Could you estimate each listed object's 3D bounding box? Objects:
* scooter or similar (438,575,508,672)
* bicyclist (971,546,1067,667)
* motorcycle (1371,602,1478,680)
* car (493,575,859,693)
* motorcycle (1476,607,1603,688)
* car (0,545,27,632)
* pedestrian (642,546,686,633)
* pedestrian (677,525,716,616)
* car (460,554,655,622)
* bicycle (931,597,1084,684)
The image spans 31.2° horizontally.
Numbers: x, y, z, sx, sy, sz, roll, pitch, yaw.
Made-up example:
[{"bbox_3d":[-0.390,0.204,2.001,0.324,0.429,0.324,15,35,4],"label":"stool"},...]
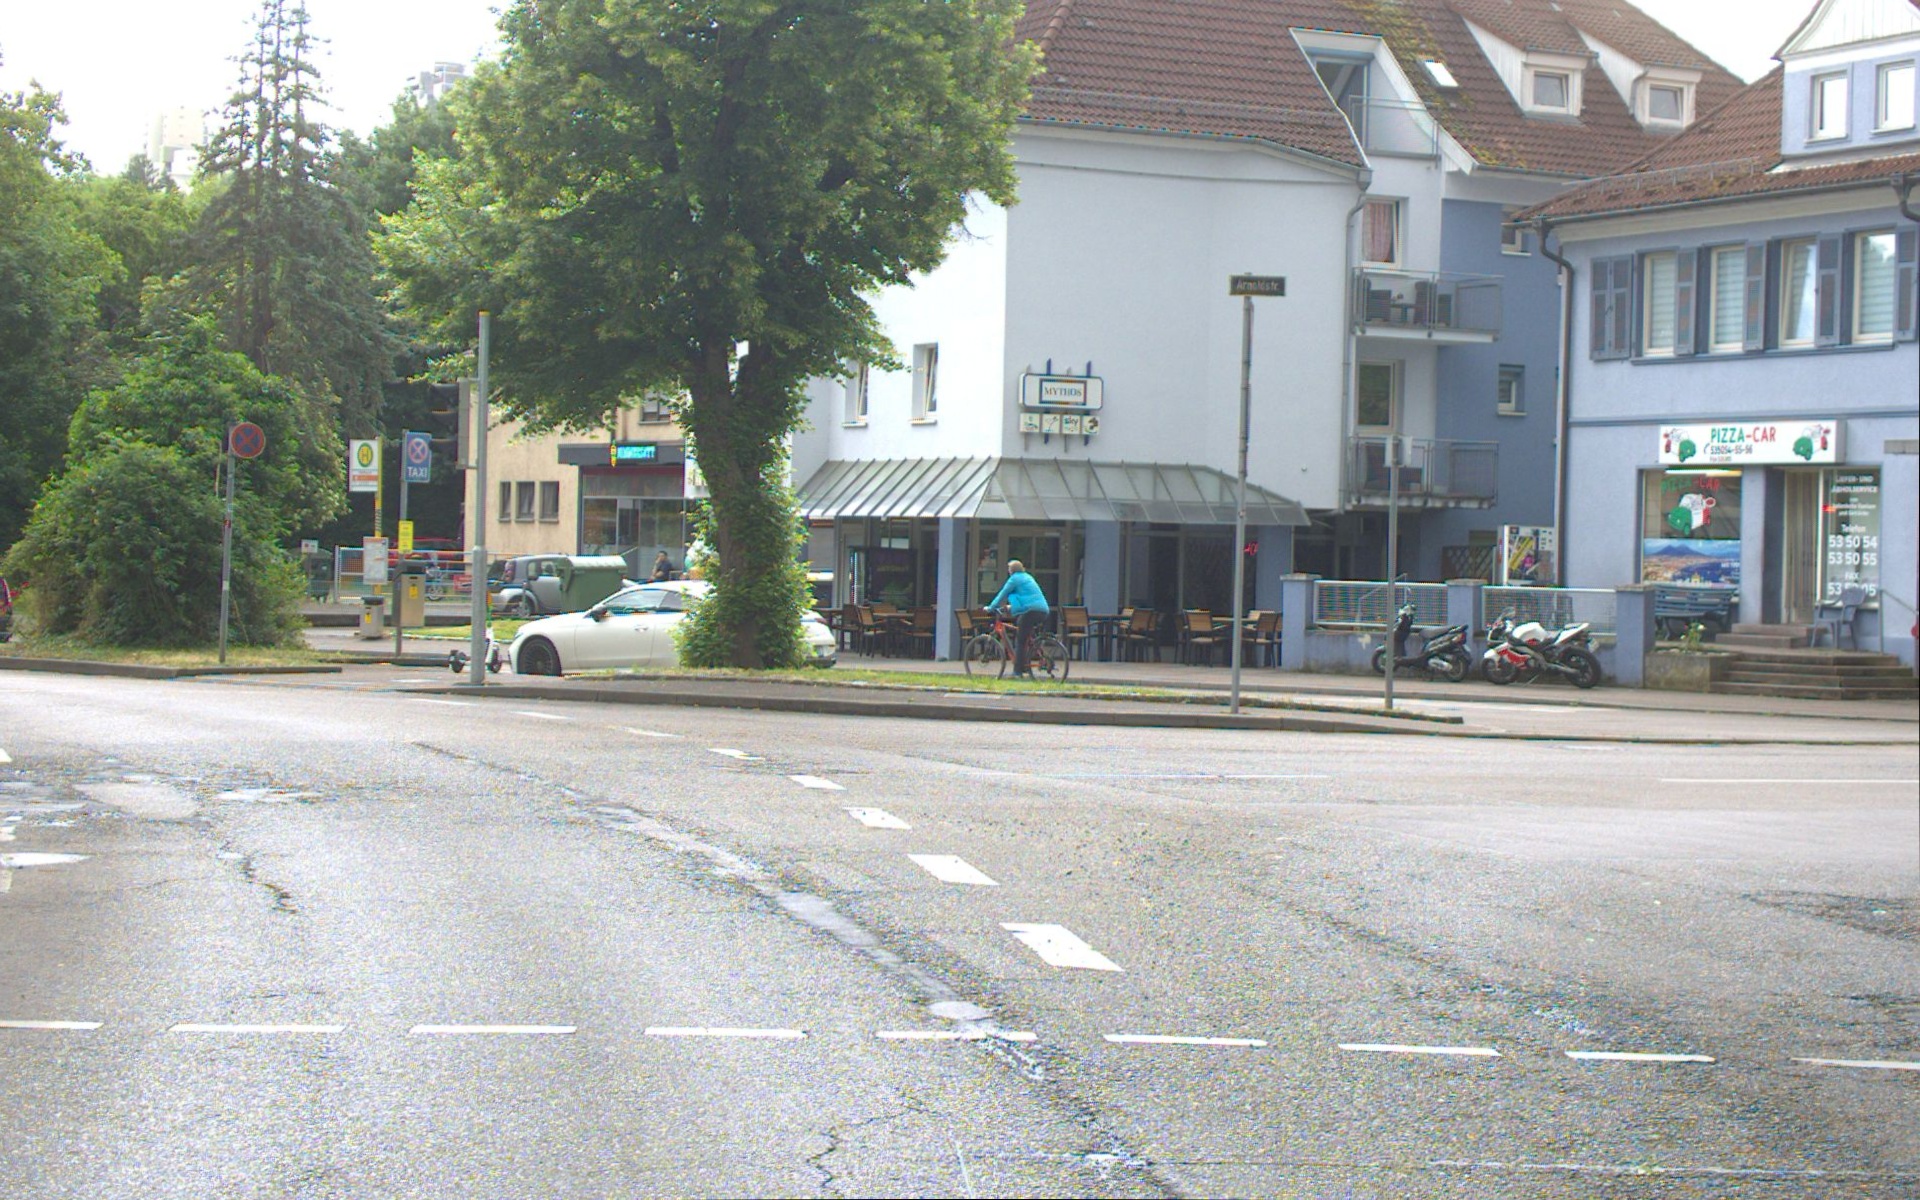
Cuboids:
[{"bbox_3d":[-6.031,0.284,42.615,0.442,1.171,1.437,1,1,9],"label":"scooter or similar"},{"bbox_3d":[0.822,0.088,47.888,0.987,1.646,0.916,1,1,32],"label":"bicyclist"},{"bbox_3d":[6.772,0.593,50.134,1.458,1.085,0.523,1,1,35],"label":"motorcycle"},{"bbox_3d":[-3.806,0.422,45.760,4.709,1.405,1.898,2,1,35],"label":"car"},{"bbox_3d":[8.147,0.664,48.364,1.628,1.085,0.626,1,1,32],"label":"motorcycle"},{"bbox_3d":[-16.422,-0.217,53.518,3.322,1.347,1.778,1,1,27],"label":"car"},{"bbox_3d":[-6.955,-0.255,80.693,0.837,2.007,1.056,1,1,-14],"label":"pedestrian"},{"bbox_3d":[-4.534,-0.501,59.243,0.543,1.554,0.467,0,0,13],"label":"pedestrian"},{"bbox_3d":[-8.862,-0.269,75.628,3.936,1.437,1.753,1,1,-20],"label":"car"},{"bbox_3d":[0.662,0.556,47.981,1.950,1.145,0.875,1,1,33],"label":"bicycle"}]
